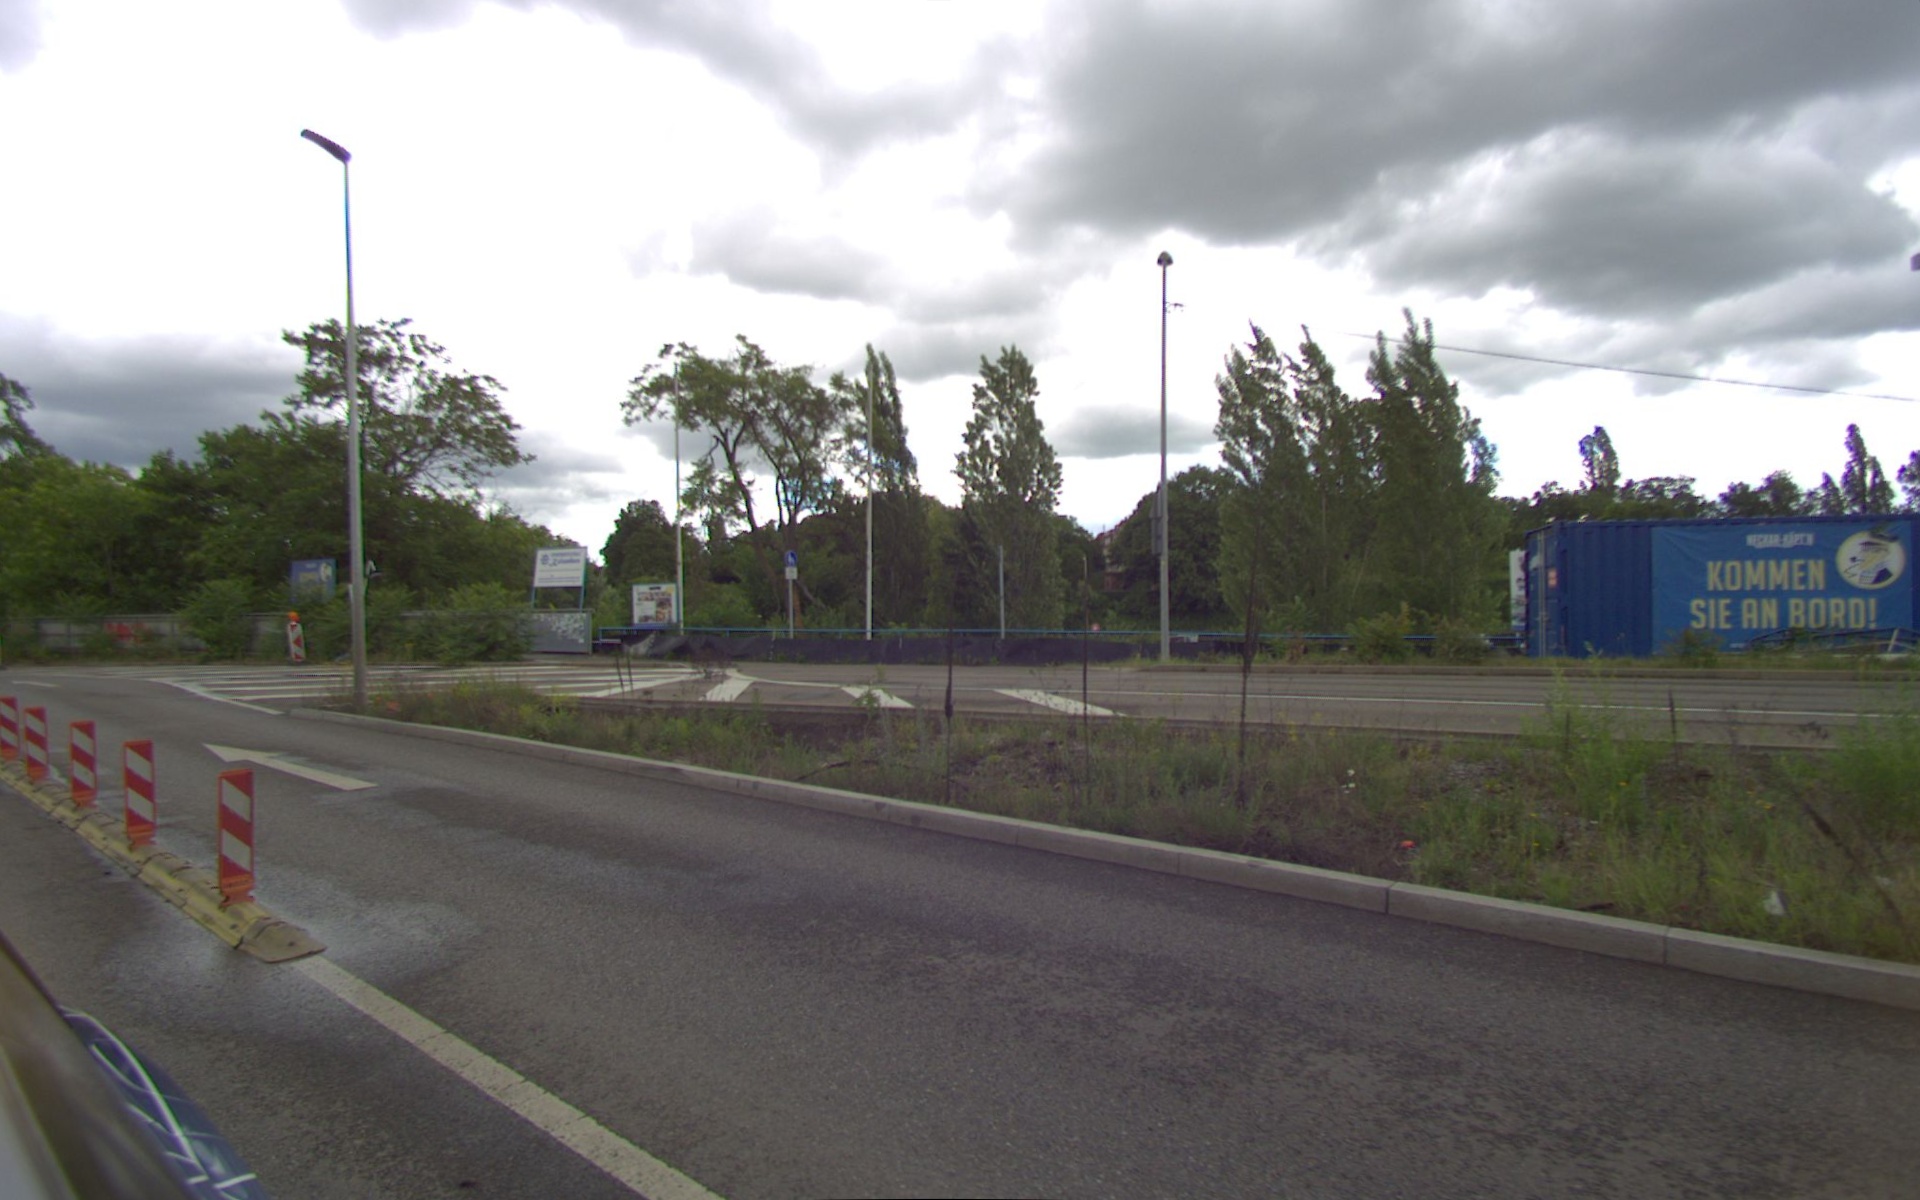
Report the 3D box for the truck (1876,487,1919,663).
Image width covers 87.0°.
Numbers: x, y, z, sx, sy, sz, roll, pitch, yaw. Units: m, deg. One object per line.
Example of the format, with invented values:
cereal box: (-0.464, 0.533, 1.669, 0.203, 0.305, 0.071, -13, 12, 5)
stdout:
truck: (22.345, -0.650, 18.043, 8.393, 3.362, 2.790, -2, -2, 13)
